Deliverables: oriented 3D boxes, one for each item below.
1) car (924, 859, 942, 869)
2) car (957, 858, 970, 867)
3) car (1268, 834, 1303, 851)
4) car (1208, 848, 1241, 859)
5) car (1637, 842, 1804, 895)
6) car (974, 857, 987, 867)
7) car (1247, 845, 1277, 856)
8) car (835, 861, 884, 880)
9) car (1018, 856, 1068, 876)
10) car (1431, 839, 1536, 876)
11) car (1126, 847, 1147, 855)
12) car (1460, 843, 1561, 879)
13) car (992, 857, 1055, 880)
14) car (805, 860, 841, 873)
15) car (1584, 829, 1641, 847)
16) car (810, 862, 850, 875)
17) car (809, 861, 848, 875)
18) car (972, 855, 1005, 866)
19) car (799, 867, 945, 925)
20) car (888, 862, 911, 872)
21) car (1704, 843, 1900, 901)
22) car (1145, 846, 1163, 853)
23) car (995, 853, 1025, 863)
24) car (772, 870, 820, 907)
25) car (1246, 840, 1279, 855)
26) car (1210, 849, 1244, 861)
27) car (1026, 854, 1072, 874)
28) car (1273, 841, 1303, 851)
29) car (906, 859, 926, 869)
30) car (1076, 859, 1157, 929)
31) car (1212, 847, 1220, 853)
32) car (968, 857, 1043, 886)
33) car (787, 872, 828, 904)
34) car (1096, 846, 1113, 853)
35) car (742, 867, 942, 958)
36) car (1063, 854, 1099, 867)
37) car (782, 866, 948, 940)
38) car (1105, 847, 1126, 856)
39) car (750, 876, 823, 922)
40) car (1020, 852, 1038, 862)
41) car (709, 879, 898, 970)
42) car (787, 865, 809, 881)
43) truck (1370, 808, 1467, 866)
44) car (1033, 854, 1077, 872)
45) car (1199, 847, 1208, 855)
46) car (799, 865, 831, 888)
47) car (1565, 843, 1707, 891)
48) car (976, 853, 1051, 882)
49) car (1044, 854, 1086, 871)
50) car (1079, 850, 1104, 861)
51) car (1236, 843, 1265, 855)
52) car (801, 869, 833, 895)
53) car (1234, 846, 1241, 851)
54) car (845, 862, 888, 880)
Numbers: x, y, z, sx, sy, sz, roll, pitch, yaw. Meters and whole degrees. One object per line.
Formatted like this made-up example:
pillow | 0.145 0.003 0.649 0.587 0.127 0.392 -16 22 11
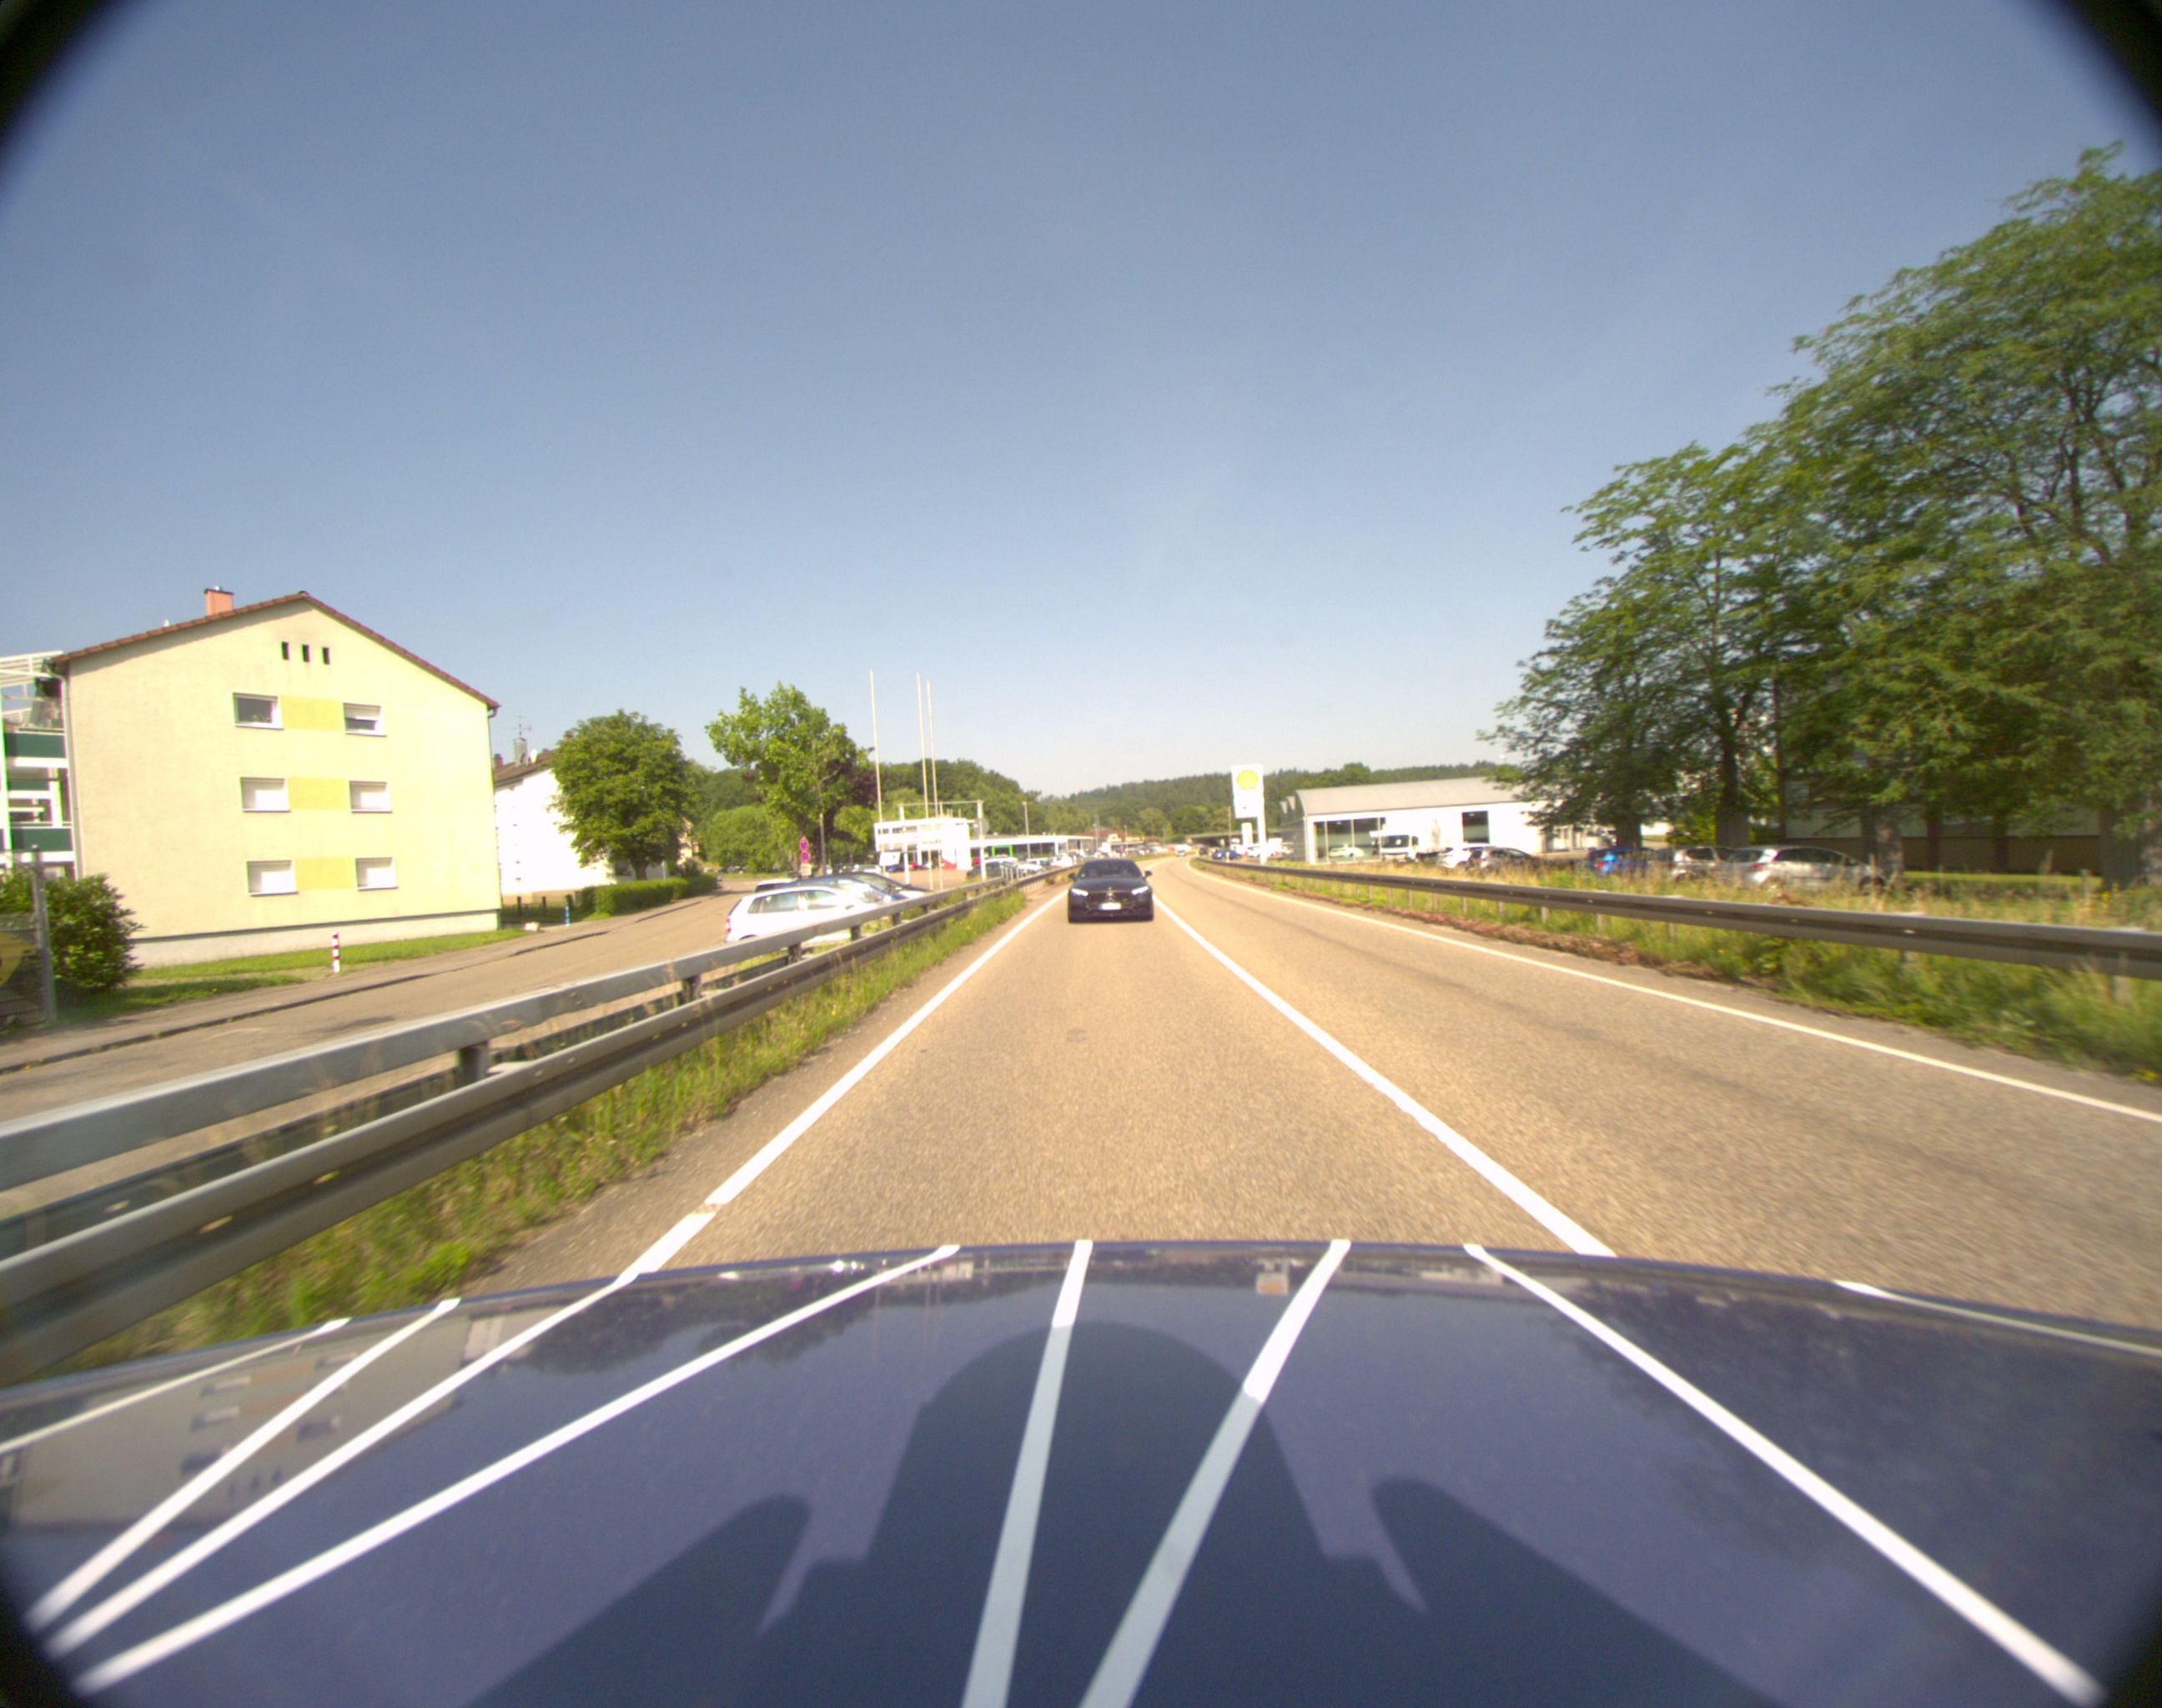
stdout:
car | -25.983 1.693 133.406 2.001 1.537 4.610 -2 1 2
car | -20.534 1.470 133.296 2.003 1.537 4.607 -2 1 -6
car | 36.375 -2.049 135.262 5.730 2.729 2.287 -4 1 12
car | 20.418 -0.102 108.176 4.401 1.359 1.849 -2 0 -30
car | 20.967 0.462 25.064 3.754 1.491 1.859 -3 1 10
car | -17.751 1.344 133.992 2.004 1.537 4.605 -2 1 -12
car | 27.532 -0.548 115.380 4.236 1.395 1.893 -4 1 -30
car | -22.029 1.633 75.601 4.500 1.591 1.838 -3 1 -16
car | -3.226 1.004 65.611 3.995 1.513 1.698 -2 1 8
car | 20.907 0.185 39.611 4.361 1.645 1.932 -3 1 1
car | 12.163 -0.733 166.406 3.991 1.622 1.923 -2 1 21
car | 20.732 0.325 36.821 3.756 1.491 1.932 -3 1 1
car | -4.183 1.052 55.337 4.329 1.435 1.629 -2 1 5
car | -36.367 1.760 107.198 4.754 1.625 1.929 -2 1 -16
car | 40.651 -1.201 58.214 1.726 1.193 4.001 -3 0 4
car | -32.192 1.838 97.528 4.756 1.450 1.928 -2 1 -22
car | -33.247 1.795 100.129 4.756 1.579 1.928 -2 1 -22
car | -14.379 0.992 118.344 4.743 1.556 1.933 -1 1 13
car | -6.273 1.228 23.119 4.072 1.444 1.726 -2 1 -13
car | -30.769 2.132 128.782 1.836 1.537 4.467 -1 1 13
car | 20.575 0.486 21.824 3.756 1.452 1.862 -2 1 3
car | 17.623 -1.089 182.785 4.044 1.499 1.808 -1 1 19
car | -12.149 0.709 129.951 4.743 1.556 1.933 -1 1 13
car | -12.853 1.494 34.459 1.710 1.397 4.477 -3 1 -17
car | 28.755 -1.074 120.619 4.800 1.970 2.230 -5 0 10
car | 20.093 0.109 104.397 4.238 1.498 1.981 -2 0 -30
car | -2.849 0.900 68.280 3.854 1.559 1.808 -2 1 8
car | 33.360 -1.299 122.369 4.473 1.390 1.968 -4 0 10
car | -28.988 1.807 133.877 2.001 1.537 4.612 -1 1 7
car | 0.765 0.882 18.343 1.716 1.382 4.146 -1 1 0
car | 35.895 -1.021 201.641 1.795 1.620 4.231 -1 1 14
car | -4.605 1.069 46.831 4.157 1.474 1.883 -4 1 9
car | -14.014 1.682 39.044 1.710 1.397 3.657 -3 1 -17
car | 6.205 -1.159 200.808 4.315 1.914 1.792 -1 1 16
car | -5.655 1.350 18.524 4.247 1.563 1.916 -6 2 -9
car | 0.055 0.791 93.296 4.167 1.536 1.741 -1 1 9
car | -5.772 1.286 20.746 3.999 1.441 1.763 -6 1 -7
car | 6.809 -0.447 150.099 3.882 1.654 1.842 -1 1 20
car | -10.894 1.625 28.374 1.789 1.411 4.434 -3 0 -12
car | -9.305 0.518 136.204 1.933 1.556 4.743 -2 1 -21
car | -5.536 1.381 15.515 3.274 1.368 1.548 -5 2 -9
car | -29.053 1.938 78.208 1.788 1.466 3.982 -3 1 -16
truck | 22.906 -1.209 51.319 8.227 3.536 2.799 -4 0 -43
car | -2.512 0.862 73.338 3.996 1.571 1.778 -2 1 3
car | 28.718 -0.642 177.398 1.917 1.874 4.914 -1 1 11
car | -19.273 1.612 55.257 1.916 1.397 4.518 -3 1 -17
car | 20.417 0.456 28.090 3.756 1.491 1.932 -3 1 3
car | -4.400 0.880 49.712 4.325 1.630 2.142 -2 1 15
car | -1.644 0.896 79.261 3.995 1.630 1.888 -2 1 8
car | 1.822 0.255 133.472 4.083 1.600 1.793 -2 1 10
car | 29.352 -0.864 131.595 4.679 1.847 2.145 -4 0 10
car | -16.413 1.709 47.304 1.657 1.358 3.657 -3 1 -17
car | 48.514 -1.608 235.447 1.754 1.466 4.290 -1 1 13
car | -20.300 1.591 71.999 3.768 1.513 1.654 -3 1 -19
